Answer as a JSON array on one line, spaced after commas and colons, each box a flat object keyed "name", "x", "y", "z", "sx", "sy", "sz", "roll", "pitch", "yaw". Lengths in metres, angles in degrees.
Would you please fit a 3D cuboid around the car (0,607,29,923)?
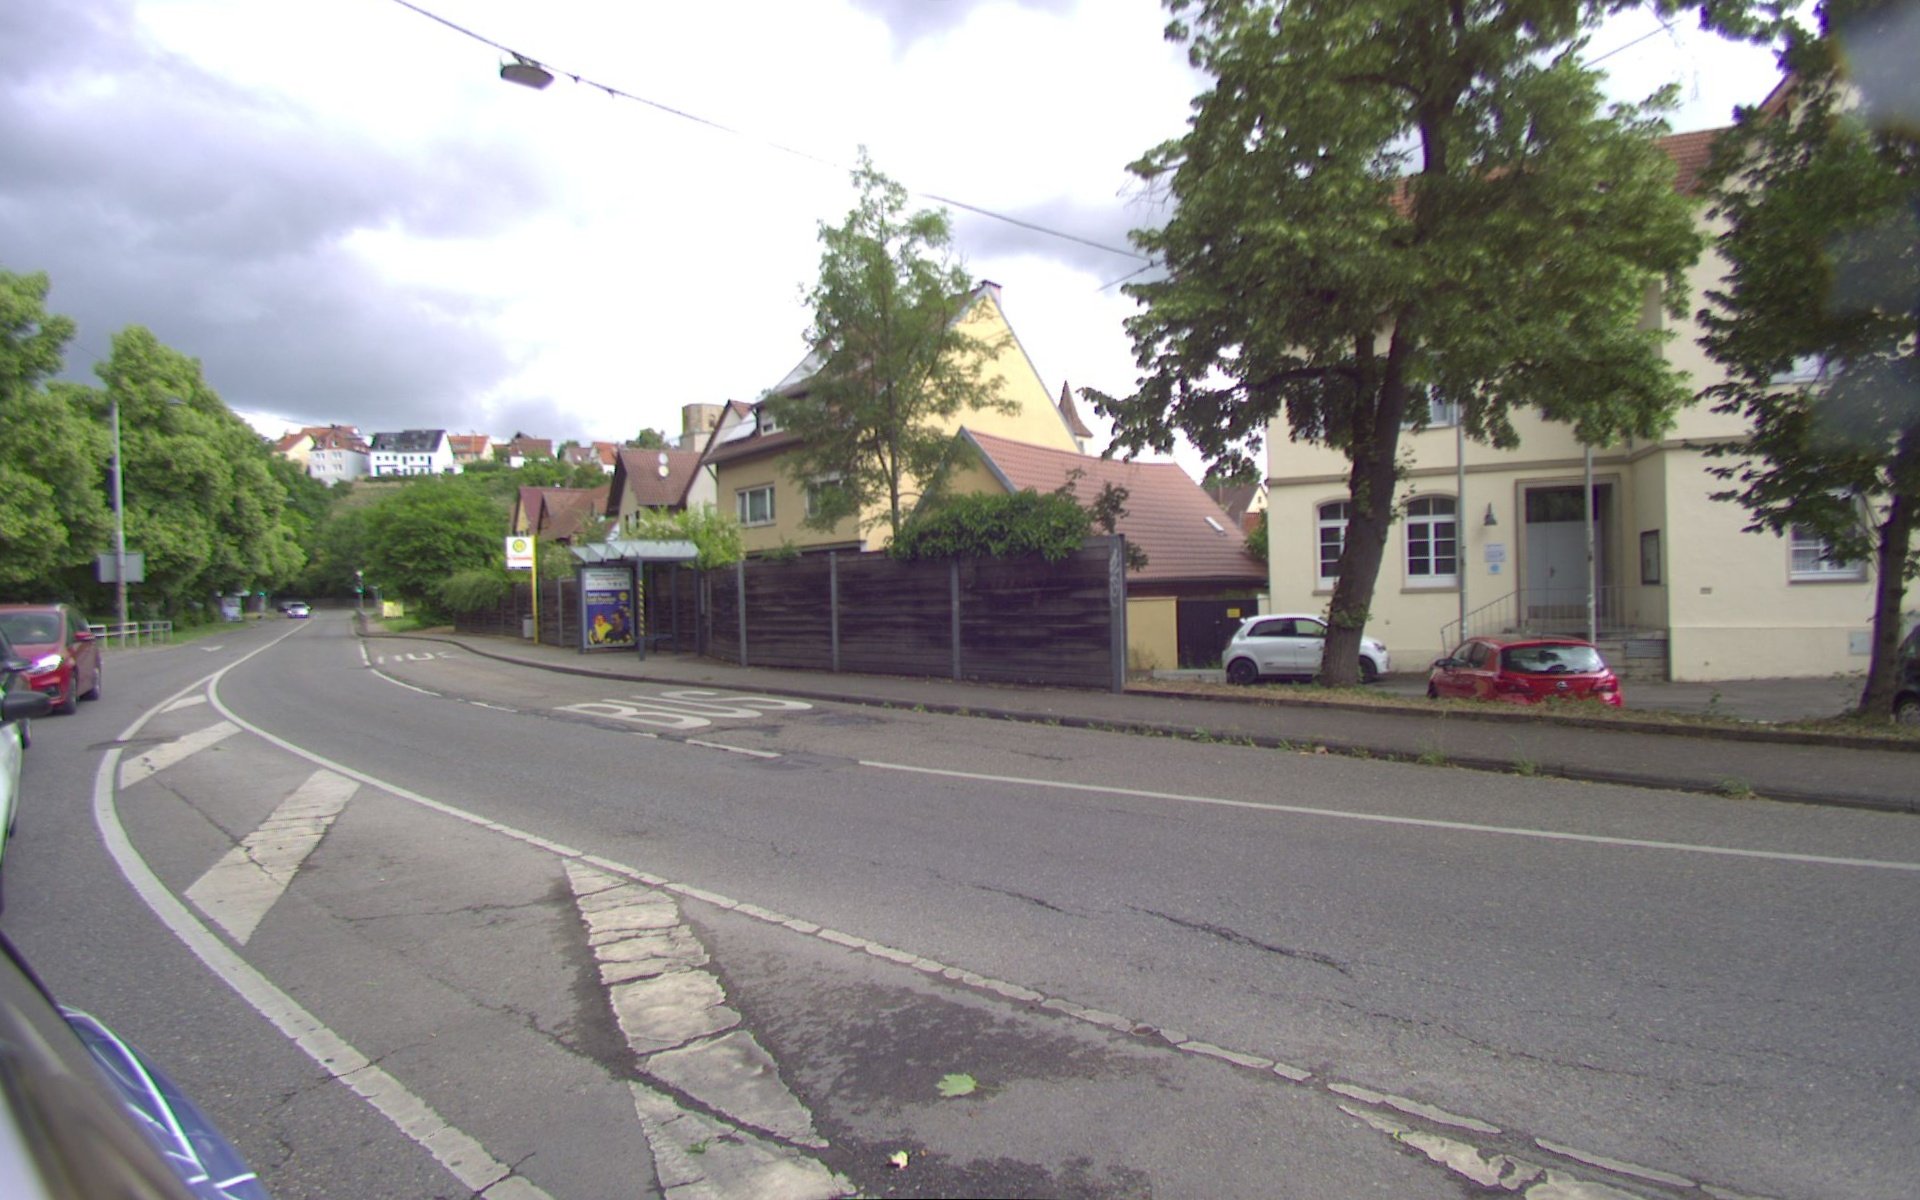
[{"name": "car", "x": -6.031, "y": 0.819, "z": 5.276, "sx": 1.594, "sy": 1.525, "sz": 3.610, "roll": -1, "pitch": 0, "yaw": -41}]

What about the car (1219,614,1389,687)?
[{"name": "car", "x": 7.747, "y": 1.113, "z": 22.925, "sx": 3.487, "sy": 1.528, "sz": 1.581, "roll": -1, "pitch": 0, "yaw": 20}]

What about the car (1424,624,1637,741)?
[{"name": "car", "x": 8.126, "y": 1.108, "z": 14.769, "sx": 1.590, "sy": 1.389, "sz": 3.544, "roll": -1, "pitch": 0, "yaw": 10}]

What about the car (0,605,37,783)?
[{"name": "car", "x": -10.224, "y": 0.857, "z": 9.855, "sx": 1.699, "sy": 1.559, "sz": 3.787, "roll": -1, "pitch": 0, "yaw": -41}]

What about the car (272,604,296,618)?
[{"name": "car", "x": -89.111, "y": 1.504, "z": 133.382, "sx": 4.001, "sy": 1.768, "sz": 1.885, "roll": -1, "pitch": 1, "yaw": 44}]

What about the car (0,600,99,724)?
[{"name": "car", "x": -14.509, "y": 0.882, "z": 15.439, "sx": 1.800, "sy": 1.685, "sz": 4.067, "roll": -1, "pitch": 0, "yaw": -37}]

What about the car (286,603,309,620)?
[{"name": "car", "x": -68.263, "y": 1.194, "z": 104.331, "sx": 1.816, "sy": 1.652, "sz": 4.012, "roll": -1, "pitch": 0, "yaw": -31}]

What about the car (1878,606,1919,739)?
[{"name": "car", "x": 12.700, "y": 0.892, "z": 11.586, "sx": 1.586, "sy": 1.644, "sz": 3.093, "roll": -1, "pitch": 0, "yaw": 2}]
